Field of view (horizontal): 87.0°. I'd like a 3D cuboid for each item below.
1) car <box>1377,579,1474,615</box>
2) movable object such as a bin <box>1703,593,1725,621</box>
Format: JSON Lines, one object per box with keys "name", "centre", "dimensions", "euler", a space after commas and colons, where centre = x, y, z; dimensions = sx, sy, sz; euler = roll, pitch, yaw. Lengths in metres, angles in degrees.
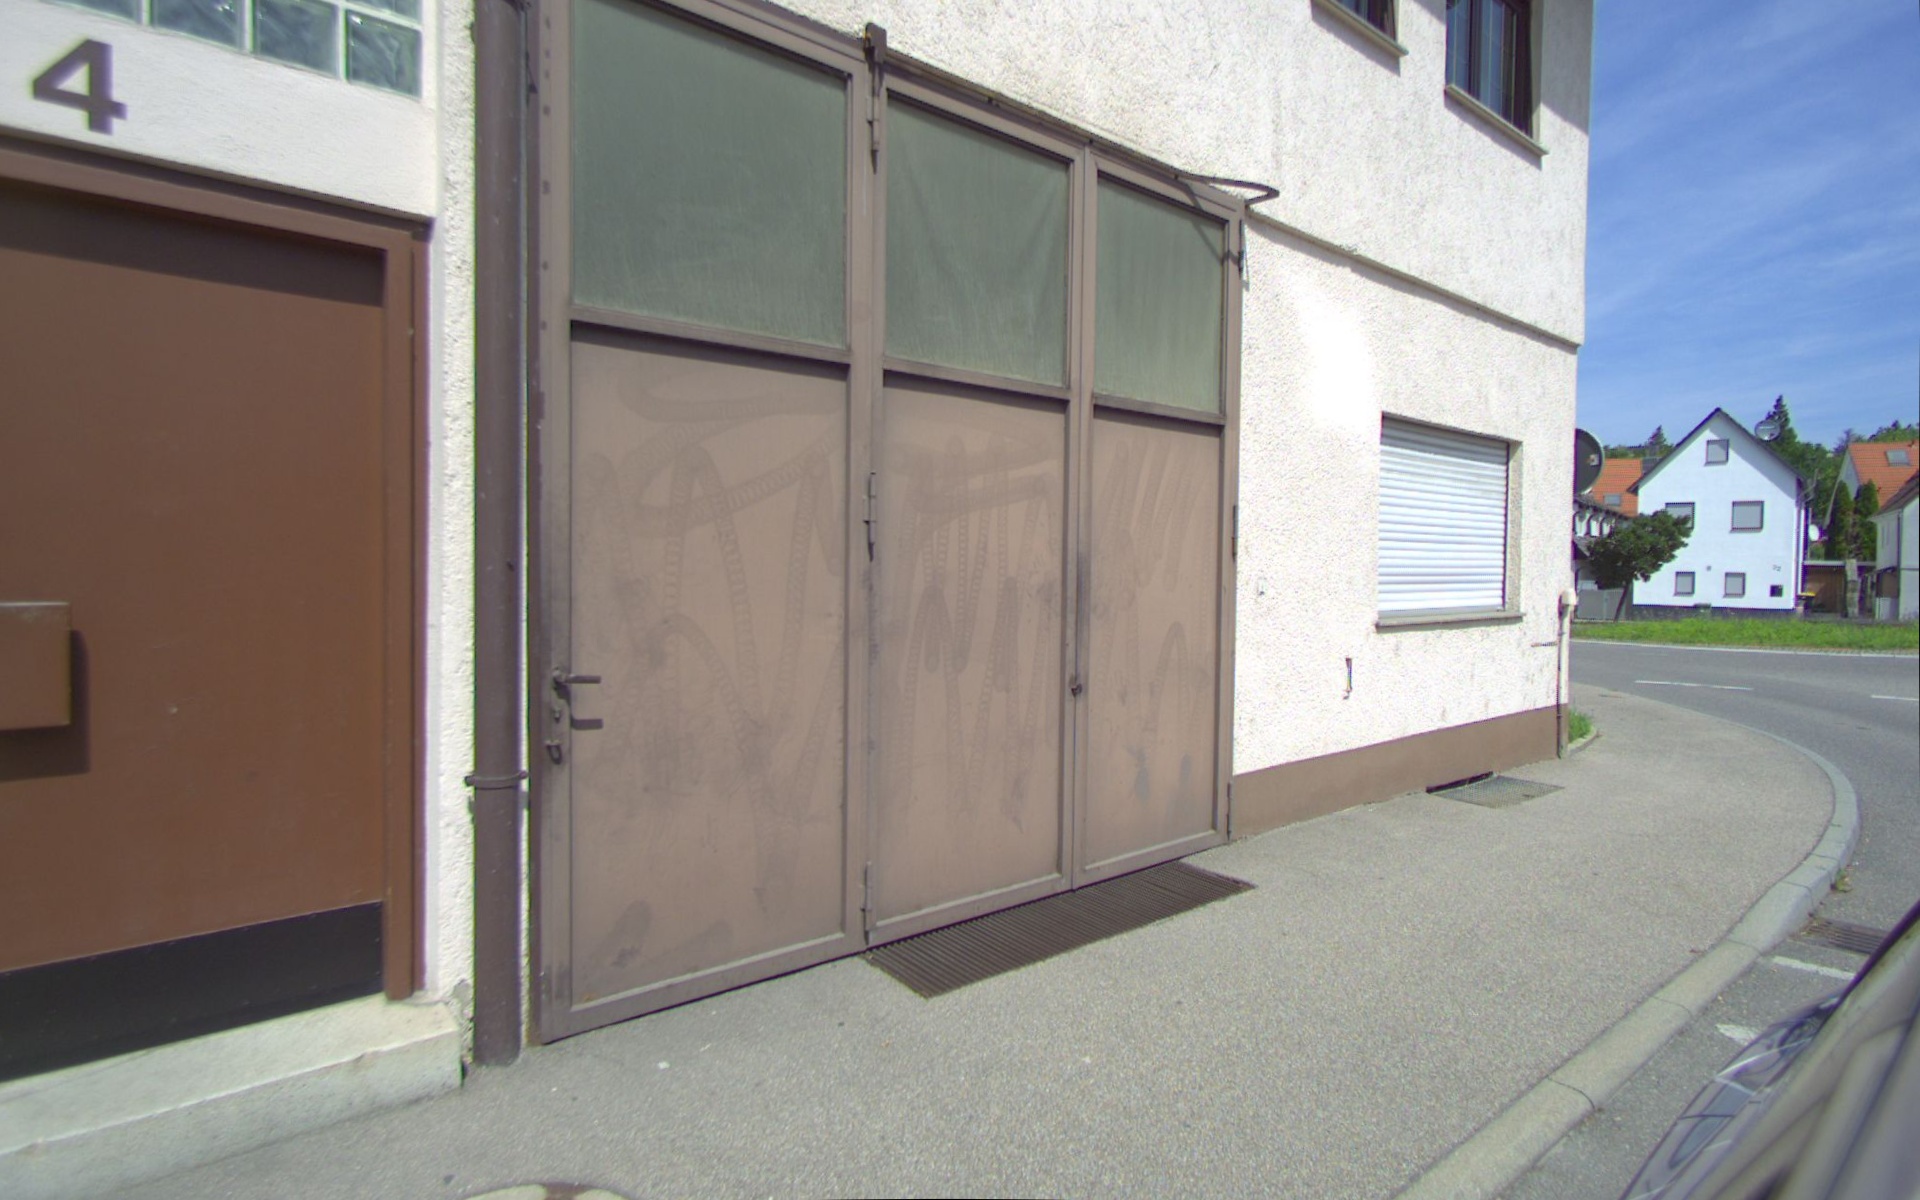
{"name": "car", "centre": [22.202, -0.179, 48.329], "dimensions": [1.749, 1.458, 3.841], "euler": [-4, 5, -41]}
{"name": "movable object such as a bin", "centre": [29.367, 0.267, 39.416], "dimensions": [0.574, 1.062, 0.894], "euler": [1, 0, 30]}
